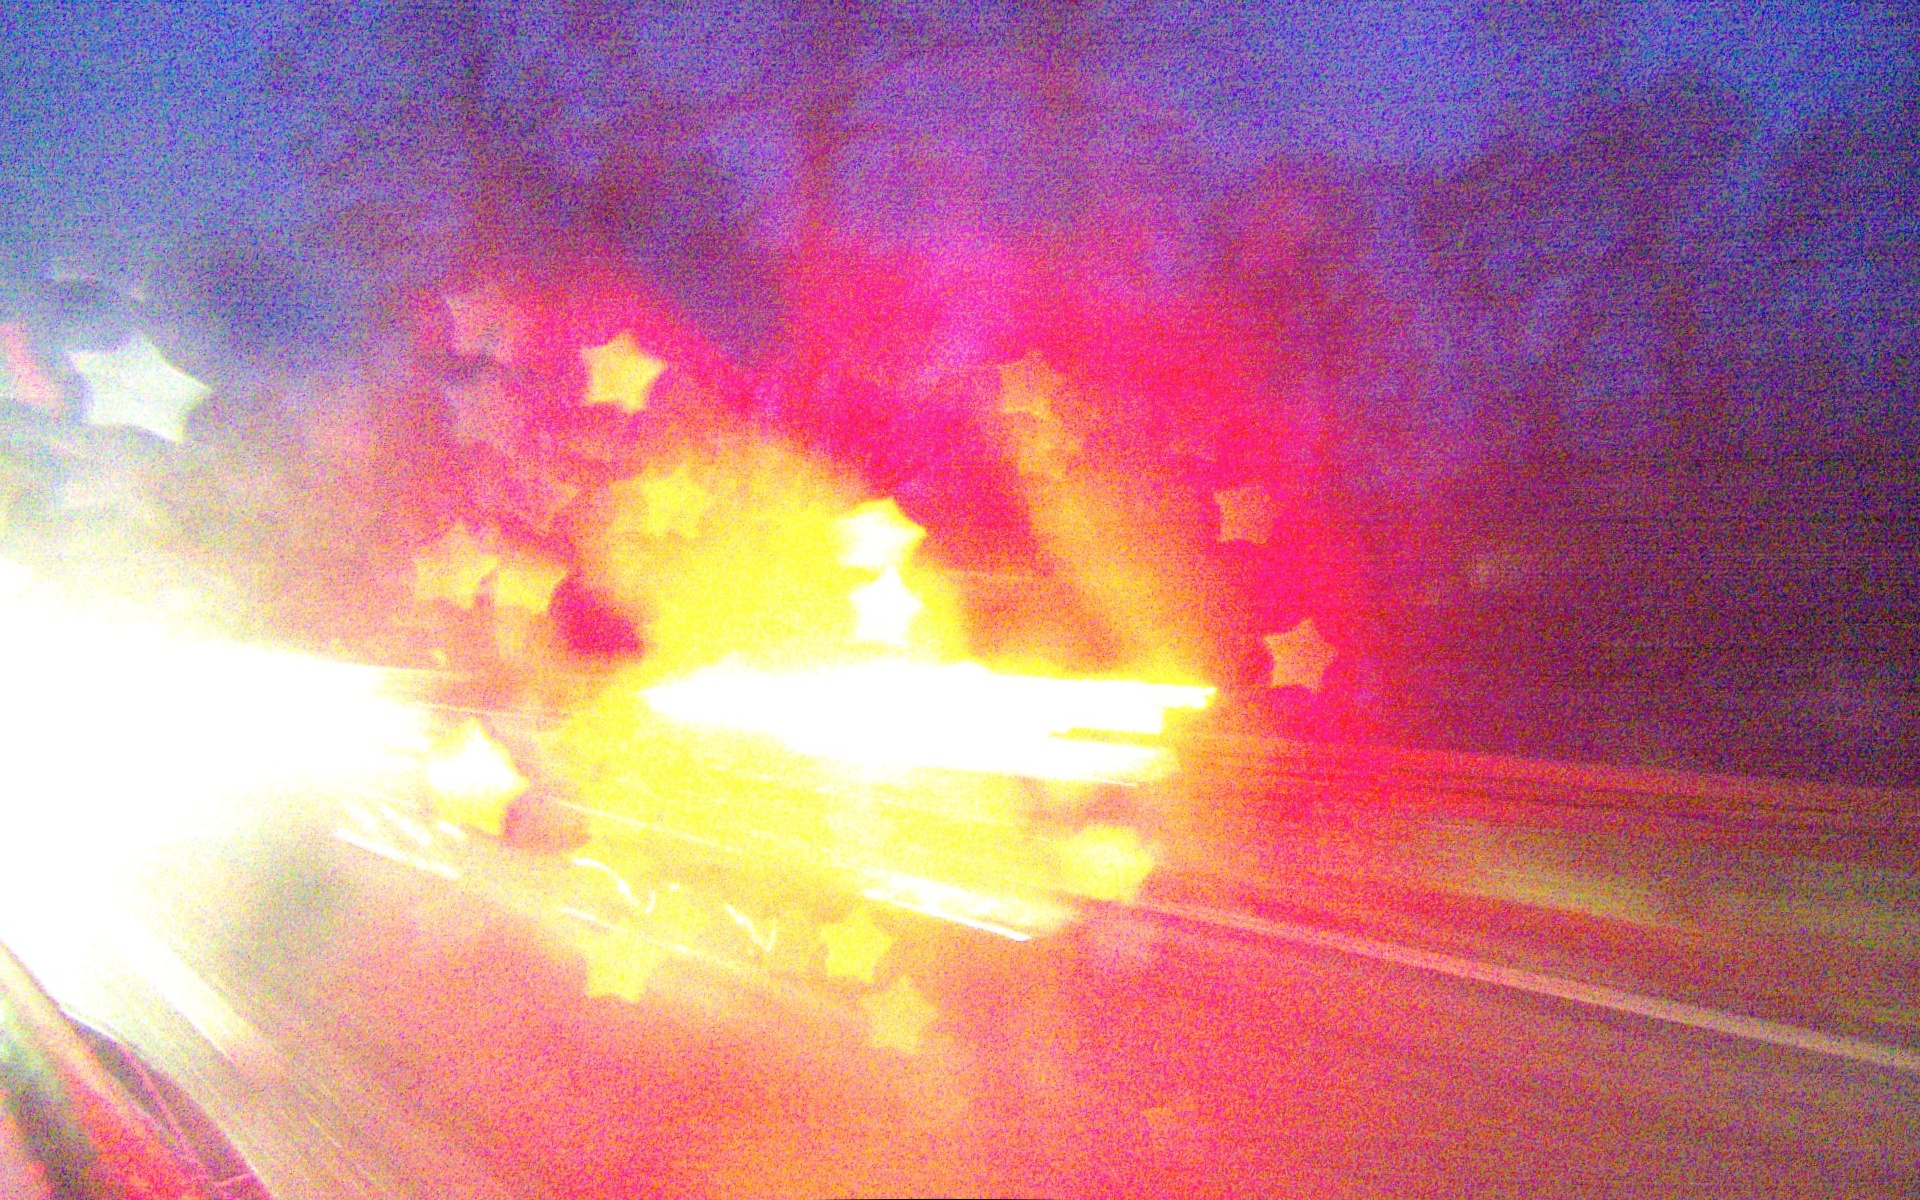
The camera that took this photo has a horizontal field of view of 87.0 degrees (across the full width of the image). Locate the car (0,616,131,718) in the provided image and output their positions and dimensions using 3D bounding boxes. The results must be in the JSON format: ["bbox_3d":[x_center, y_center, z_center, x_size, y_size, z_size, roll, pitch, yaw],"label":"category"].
[{"bbox_3d":[-15.701,1.070,17.171,3.991,1.500,1.832,-2,0,41],"label":"car"}]

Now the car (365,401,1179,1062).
[{"bbox_3d":[-1.273,0.448,5.372,4.343,2.084,1.973,-1,-1,41],"label":"car"}]
